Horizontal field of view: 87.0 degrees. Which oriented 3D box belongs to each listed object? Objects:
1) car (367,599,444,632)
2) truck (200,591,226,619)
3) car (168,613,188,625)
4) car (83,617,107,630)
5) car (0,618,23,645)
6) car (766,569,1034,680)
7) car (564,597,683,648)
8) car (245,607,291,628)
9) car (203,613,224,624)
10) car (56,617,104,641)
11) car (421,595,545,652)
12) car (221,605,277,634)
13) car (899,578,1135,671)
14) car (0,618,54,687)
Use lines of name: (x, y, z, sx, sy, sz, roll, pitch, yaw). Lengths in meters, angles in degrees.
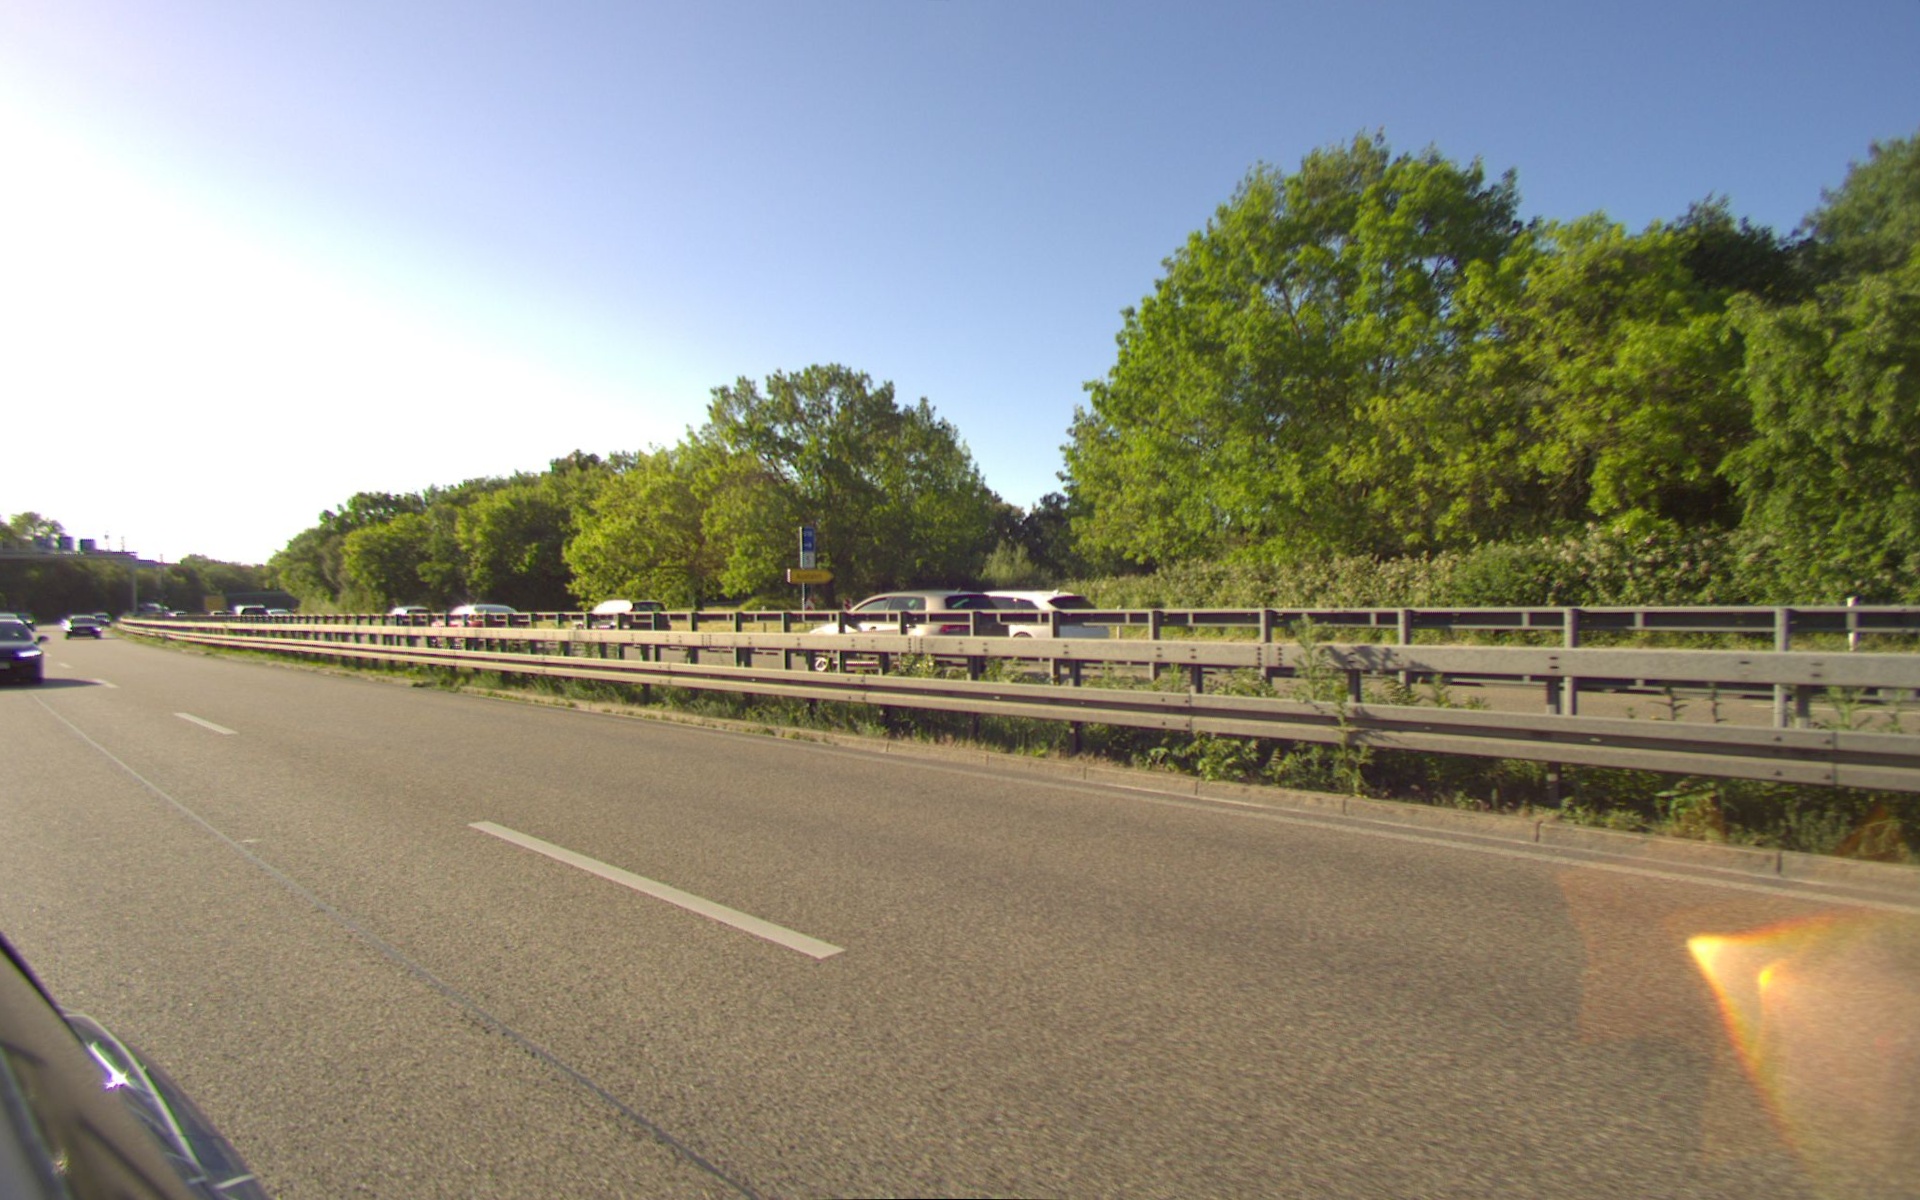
car: (-27.081, 0.765, 49.344, 4.723, 1.488, 1.971, -1, 1, 45)
truck: (-123.486, 0.849, 167.211, 3.125, 4.452, 8.035, -4, 2, -38)
car: (-105.895, 2.567, 137.012, 1.969, 1.425, 4.839, -3, 1, -40)
car: (-100.435, 2.725, 117.551, 1.968, 1.425, 4.839, -3, 1, -39)
car: (-53.859, 1.770, 56.579, 4.833, 1.425, 1.971, -1, 1, 45)
car: (-1.165, 0.382, 17.568, 4.723, 1.653, 1.971, -1, 1, 45)
car: (-12.165, 0.782, 36.386, 5.029, 1.653, 1.971, -1, 1, 45)
car: (-51.942, 1.337, 75.917, 4.833, 1.425, 1.971, -1, 1, 45)
car: (-99.162, 2.472, 134.359, 1.969, 1.425, 4.839, -3, 1, -40)
car: (-56.923, 1.872, 65.415, 4.833, 1.425, 1.971, -1, 1, 45)
car: (-14.861, 0.733, 31.391, 4.723, 1.653, 1.971, -1, -2, 45)
car: (-43.767, 1.188, 62.252, 4.723, 1.653, 1.971, -1, 1, 45)
car: (1.070, 0.474, 20.889, 4.723, 1.653, 1.971, -1, 1, 45)
car: (-22.039, 1.157, 23.019, 1.970, 1.425, 4.835, -1, -1, -44)
